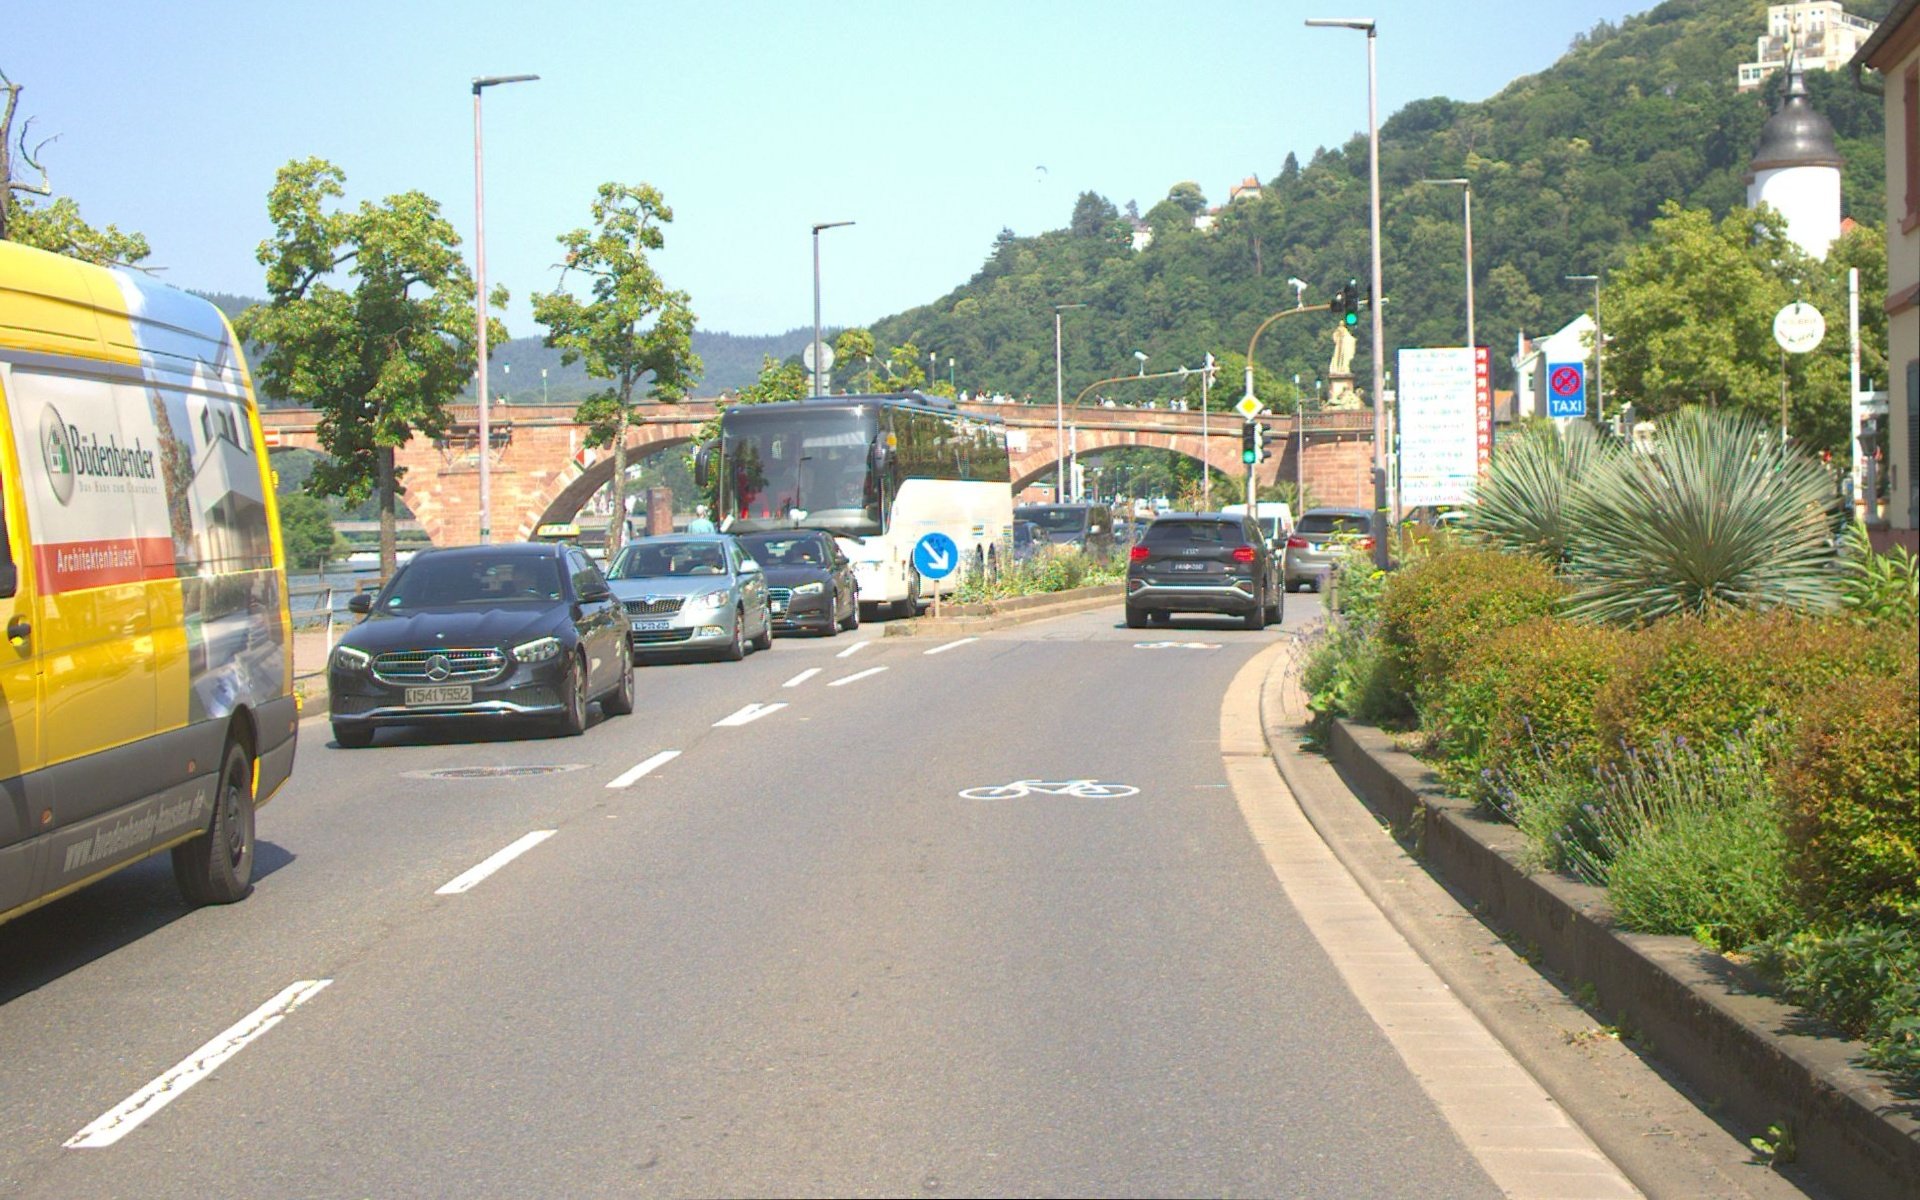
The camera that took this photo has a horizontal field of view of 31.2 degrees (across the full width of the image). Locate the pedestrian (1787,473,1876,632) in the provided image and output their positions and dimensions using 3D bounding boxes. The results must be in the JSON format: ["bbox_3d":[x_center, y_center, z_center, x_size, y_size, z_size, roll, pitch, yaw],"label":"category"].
[{"bbox_3d":[9.536,-0.526,37.637,0.738,1.692,0.933,-3,1,6],"label":"pedestrian"}]

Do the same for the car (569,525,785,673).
[{"bbox_3d":[-3.200,-0.057,39.691,1.813,1.423,4.310,-4,2,3],"label":"car"}]

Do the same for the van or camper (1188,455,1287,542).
[{"bbox_3d":[8.475,-3.068,104.647,1.995,2.441,5.491,-4,0,14],"label":"van or camper"}]

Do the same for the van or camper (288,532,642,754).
[{"bbox_3d":[-3.774,0.262,27.050,1.993,1.449,4.683,-4,1,0],"label":"van or camper"}]

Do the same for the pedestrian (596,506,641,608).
[{"bbox_3d":[-6.057,-0.762,60.982,0.620,1.774,0.662,-2,1,6],"label":"pedestrian"}]

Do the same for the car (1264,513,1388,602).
[{"bbox_3d":[6.740,-0.814,62.959,1.927,1.456,4.830,-2,2,10],"label":"car"}]

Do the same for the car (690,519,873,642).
[{"bbox_3d":[-2.341,-0.295,46.073,1.817,1.424,4.192,-3,2,5],"label":"car"}]

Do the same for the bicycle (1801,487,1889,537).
[{"bbox_3d":[21.457,-2.140,83.406,2.001,1.194,0.521,1,3,26],"label":"bicycle"}]

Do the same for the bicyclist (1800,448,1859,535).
[{"bbox_3d":[16.152,-2.015,63.870,0.766,1.578,1.089,-2,1,0],"label":"bicyclist"}]

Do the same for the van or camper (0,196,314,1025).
[{"bbox_3d":[-4.037,0.005,12.479,2.087,2.548,7.093,-2,1,-1],"label":"van or camper"}]

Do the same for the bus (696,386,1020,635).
[{"bbox_3d":[-1.400,-1.440,56.884,2.632,3.552,12.978,-2,1,10],"label":"bus"}]

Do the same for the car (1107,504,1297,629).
[{"bbox_3d":[3.278,-0.489,45.733,1.927,1.548,4.830,1,2,11],"label":"car"}]

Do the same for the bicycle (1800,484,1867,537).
[{"bbox_3d":[16.167,-1.651,63.663,0.749,0.960,1.782,-2,1,0],"label":"bicycle"}]

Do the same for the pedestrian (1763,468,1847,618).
[{"bbox_3d":[9.223,-0.627,37.532,0.762,1.589,0.696,-2,1,6],"label":"pedestrian"}]

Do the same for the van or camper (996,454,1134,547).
[{"bbox_3d":[2.351,-2.177,75.324,1.994,1.867,5.177,-3,1,12],"label":"van or camper"}]
